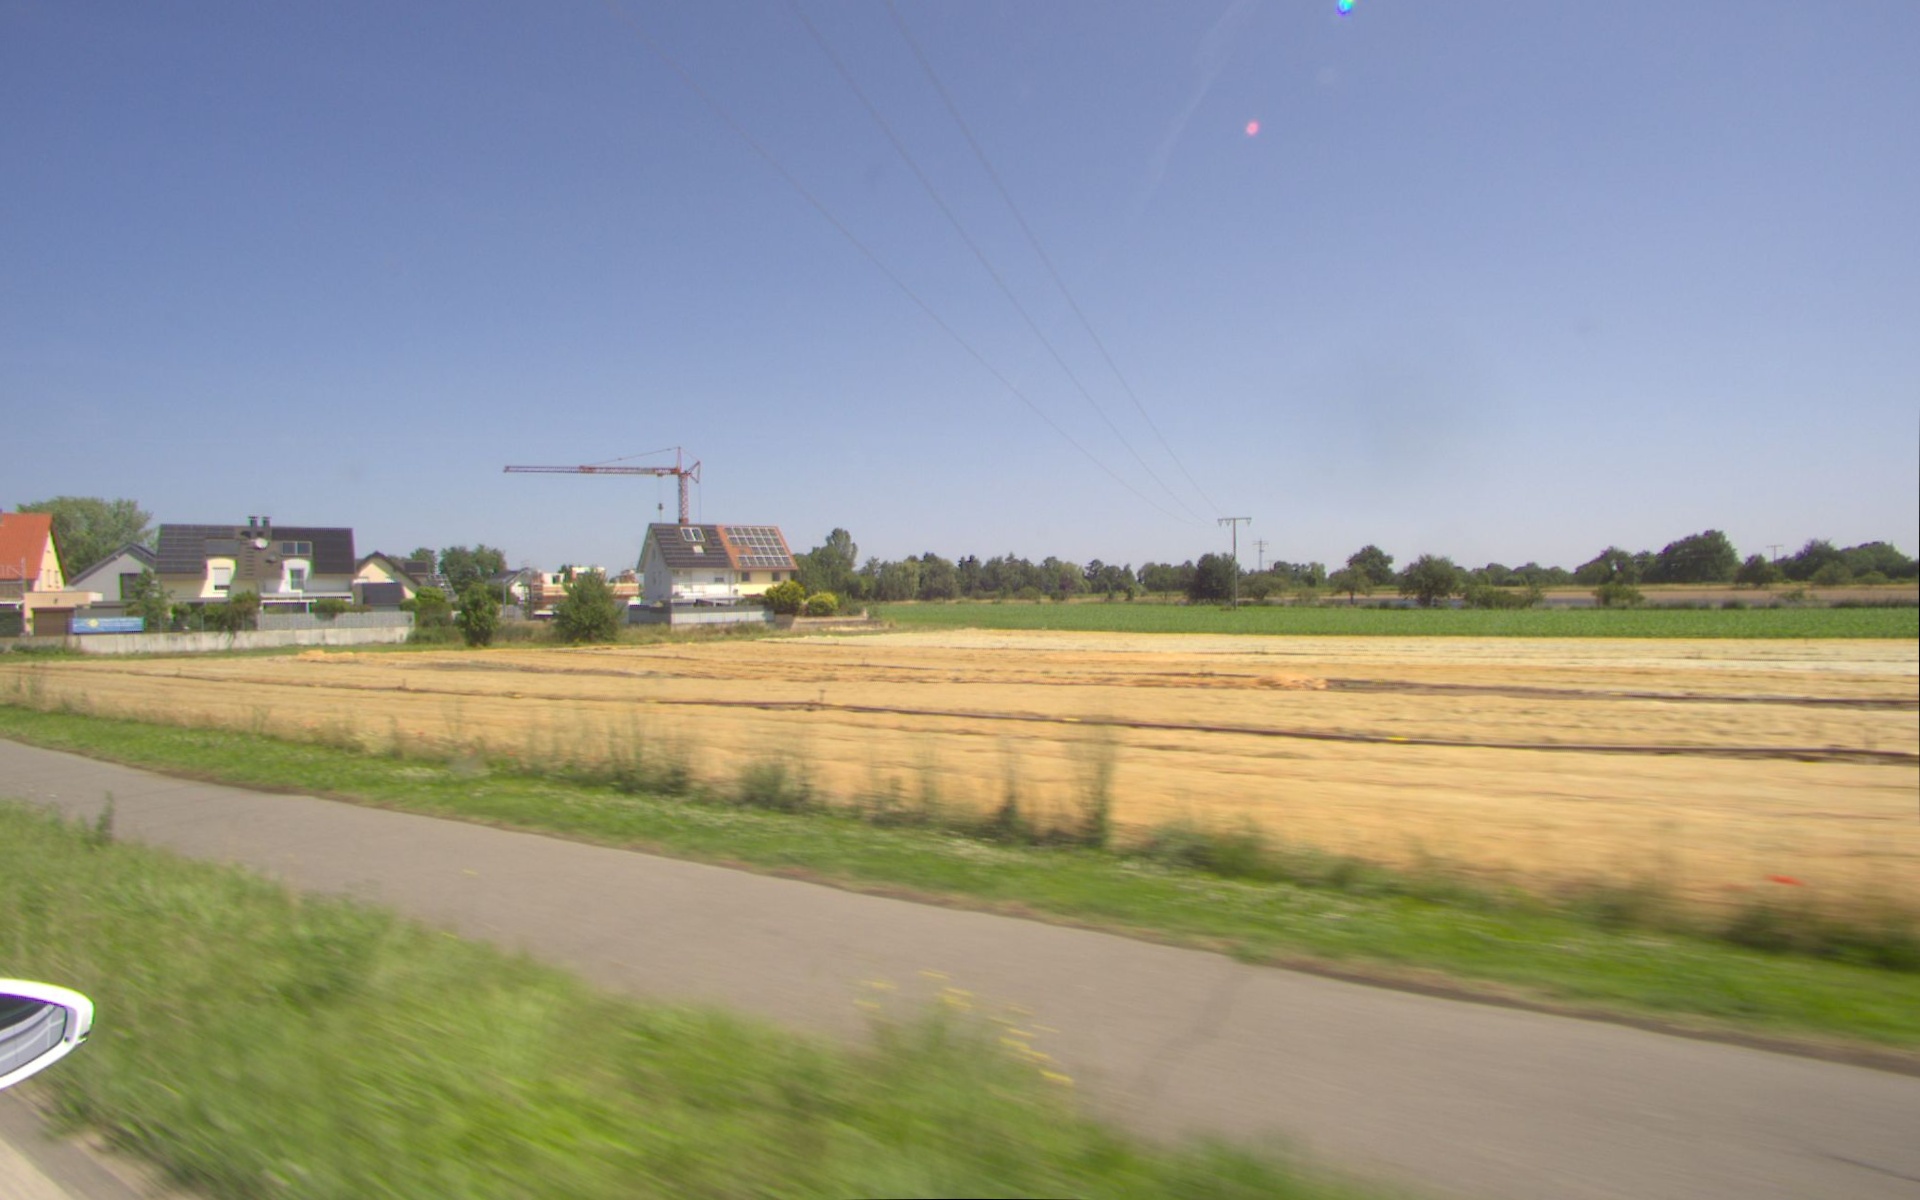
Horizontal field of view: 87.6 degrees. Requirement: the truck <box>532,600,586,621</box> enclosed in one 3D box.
[{"bbox_3d":[-46.616,1.168,116.353,5.496,2.260,2.201,-2,1,-33],"label":"truck"}]
